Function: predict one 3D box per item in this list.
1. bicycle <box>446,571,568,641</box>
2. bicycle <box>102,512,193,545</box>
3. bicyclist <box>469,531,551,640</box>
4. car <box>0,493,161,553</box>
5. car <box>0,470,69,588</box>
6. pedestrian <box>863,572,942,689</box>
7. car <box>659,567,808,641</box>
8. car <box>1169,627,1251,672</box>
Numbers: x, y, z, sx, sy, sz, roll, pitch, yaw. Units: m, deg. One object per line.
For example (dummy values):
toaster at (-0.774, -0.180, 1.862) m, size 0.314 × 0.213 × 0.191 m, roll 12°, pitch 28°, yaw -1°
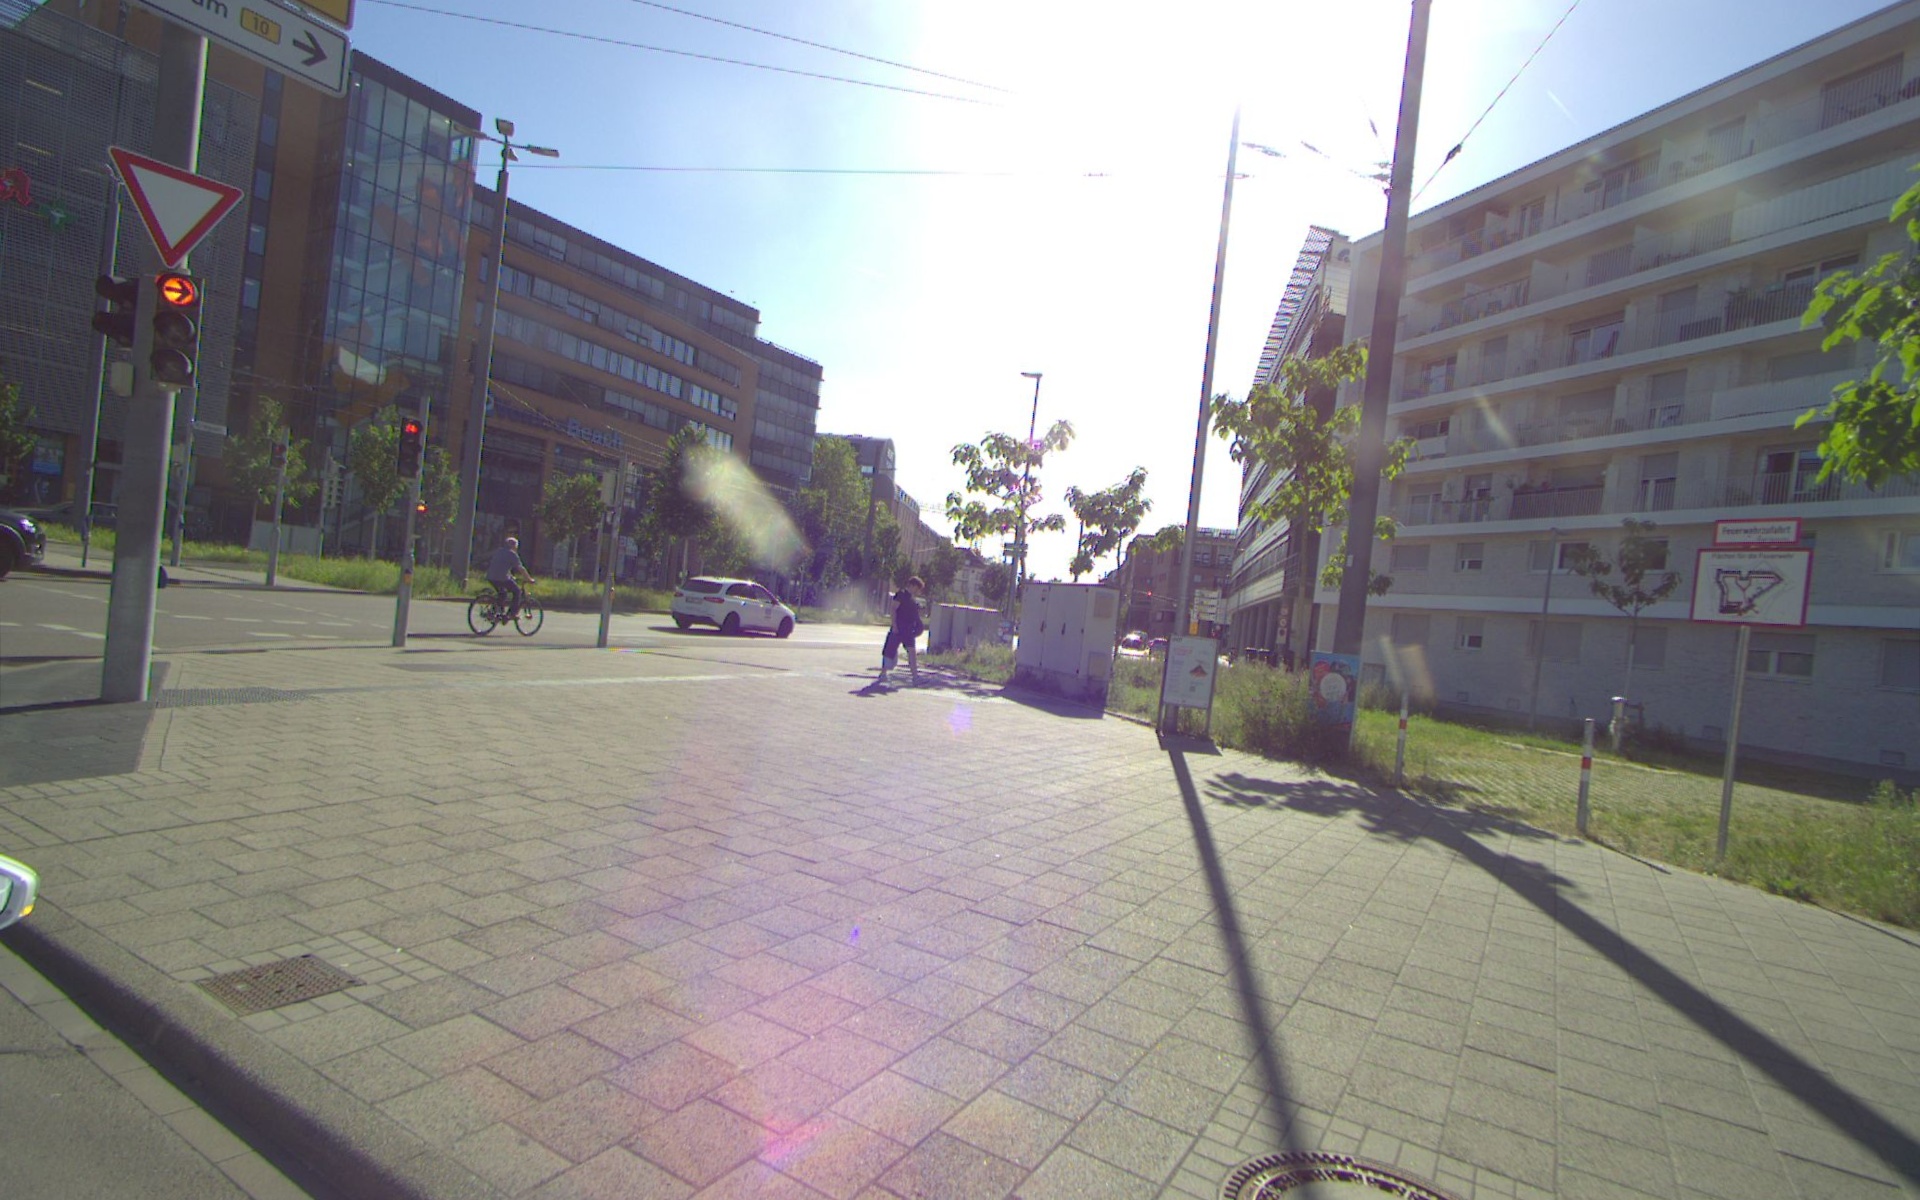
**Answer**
bicycle at (-8.372, 0.138, 18.677) m, size 0.839 × 1.130 × 1.830 m, roll 7°, pitch 1°, yaw 32°
bicycle at (-40.940, -3.572, 50.729) m, size 1.100 × 1.090 × 3.361 m, roll 7°, pitch -1°, yaw 38°
bicyclist at (-8.335, -0.263, 18.651) m, size 0.840 × 1.882 × 0.903 m, roll 7°, pitch 0°, yaw 32°
car at (-31.882, -2.766, 36.272) m, size 1.470 × 1.513 × 4.493 m, roll 7°, pitch -1°, yaw 32°
car at (-16.080, -1.326, 14.313) m, size 1.806 × 1.739 × 4.649 m, roll 8°, pitch -1°, yaw 25°
pedestrian at (-0.903, 0.494, 15.970) m, size 0.749 × 1.729 × 0.807 m, roll 7°, pitch 0°, yaw 31°
car at (-6.452, 0.177, 29.222) m, size 1.806 × 1.654 × 4.502 m, roll 8°, pitch 0°, yaw 23°
car at (14.259, 2.823, 57.539) m, size 3.929 × 2.038 × 1.999 m, roll 7°, pitch 0°, yaw -5°
